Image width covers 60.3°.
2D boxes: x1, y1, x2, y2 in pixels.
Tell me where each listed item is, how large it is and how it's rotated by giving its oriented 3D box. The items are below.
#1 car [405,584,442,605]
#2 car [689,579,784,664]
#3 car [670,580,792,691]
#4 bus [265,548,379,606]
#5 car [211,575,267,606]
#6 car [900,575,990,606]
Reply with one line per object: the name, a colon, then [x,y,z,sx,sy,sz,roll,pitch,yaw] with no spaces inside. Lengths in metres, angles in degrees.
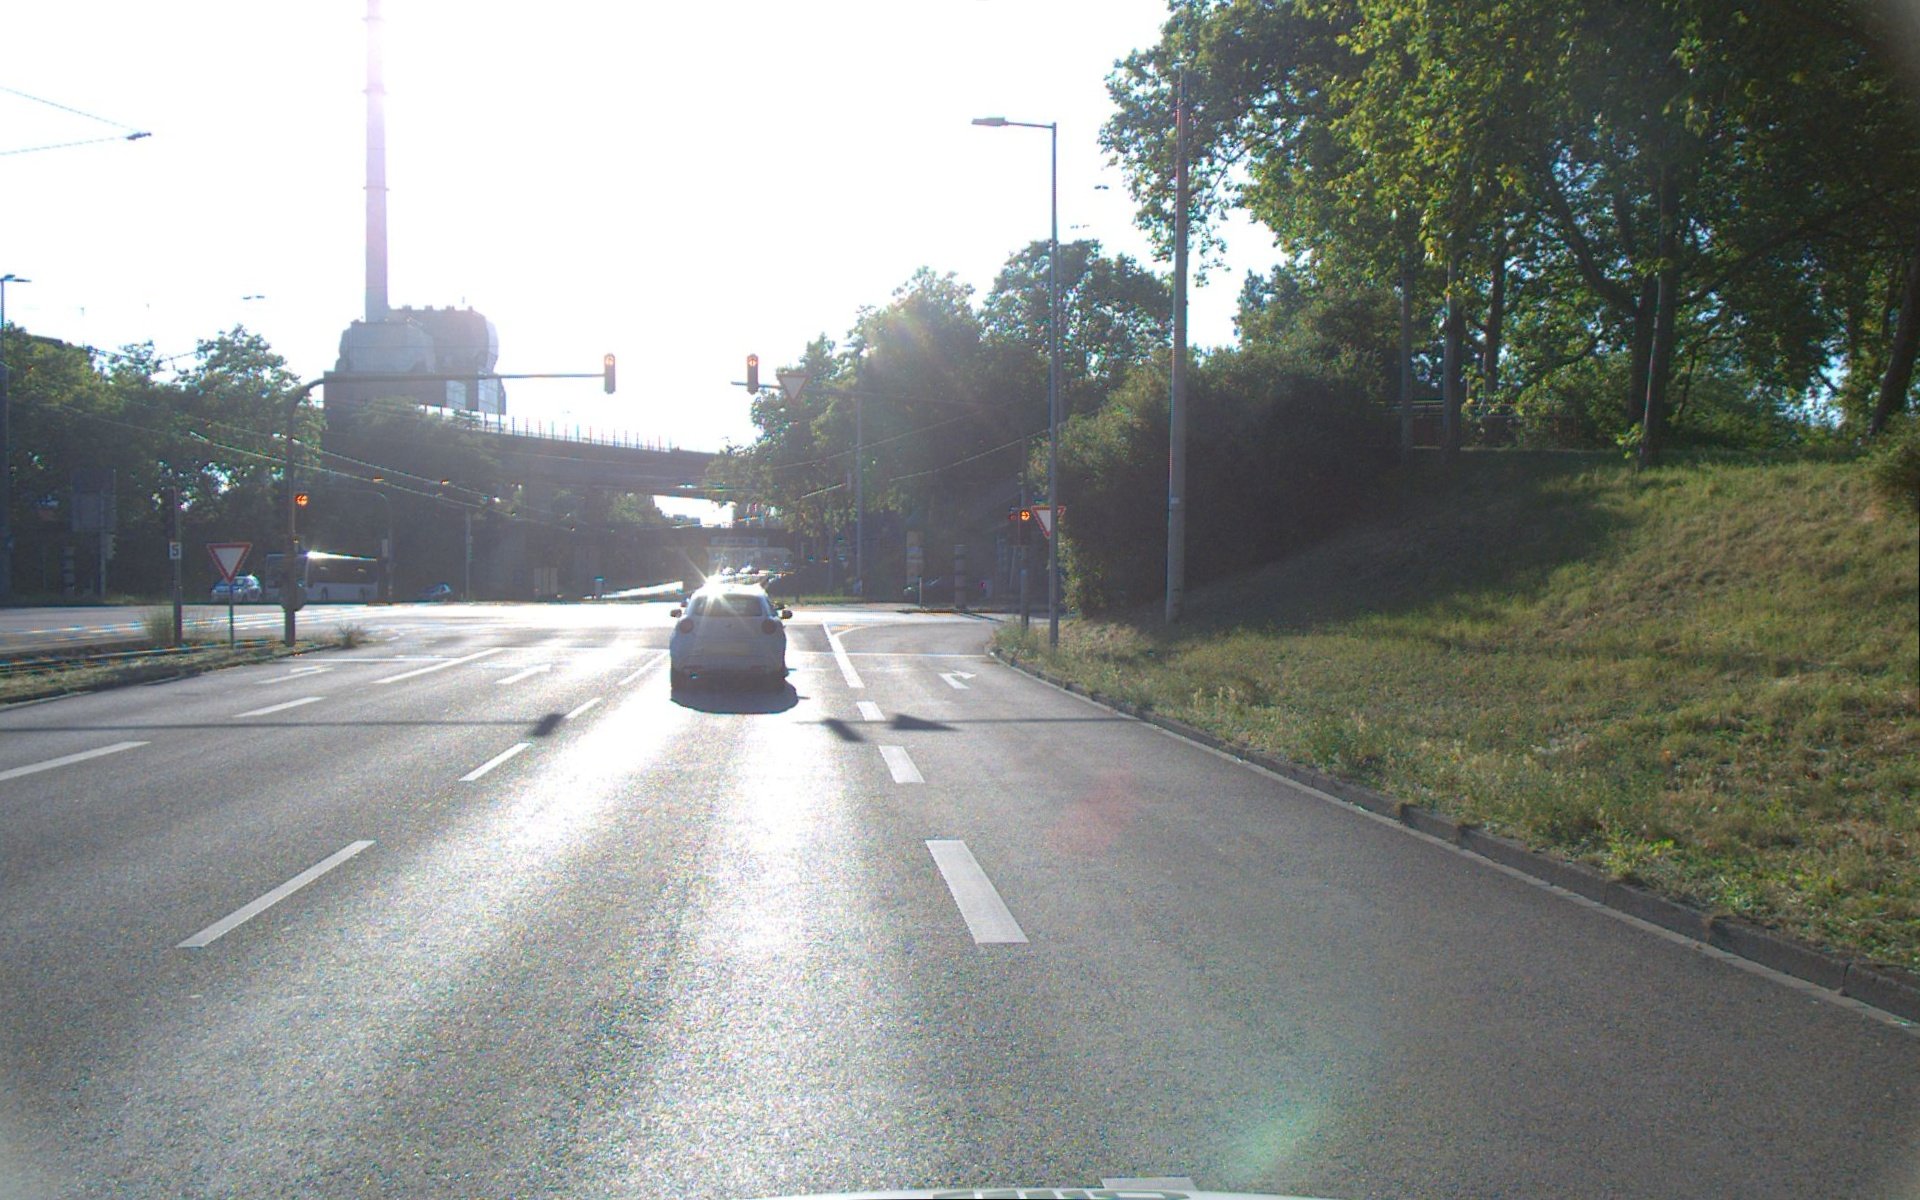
car: [-39.535,-0.411,121.939,1.575,1.443,4.005,1,1,-4]
car: [-4.317,0.354,31.763,1.682,1.491,4.199,0,1,-8]
car: [-3.470,0.478,25.434,1.703,1.531,3.995,0,1,-7]
bus: [-38.292,-1.278,99.839,2.493,3.185,12.909,0,-1,-3]
car: [-37.422,-0.532,85.909,1.576,1.538,4.002,1,1,-7]
car: [-0.797,-0.497,88.726,4.513,1.602,1.682,1,1,-23]
